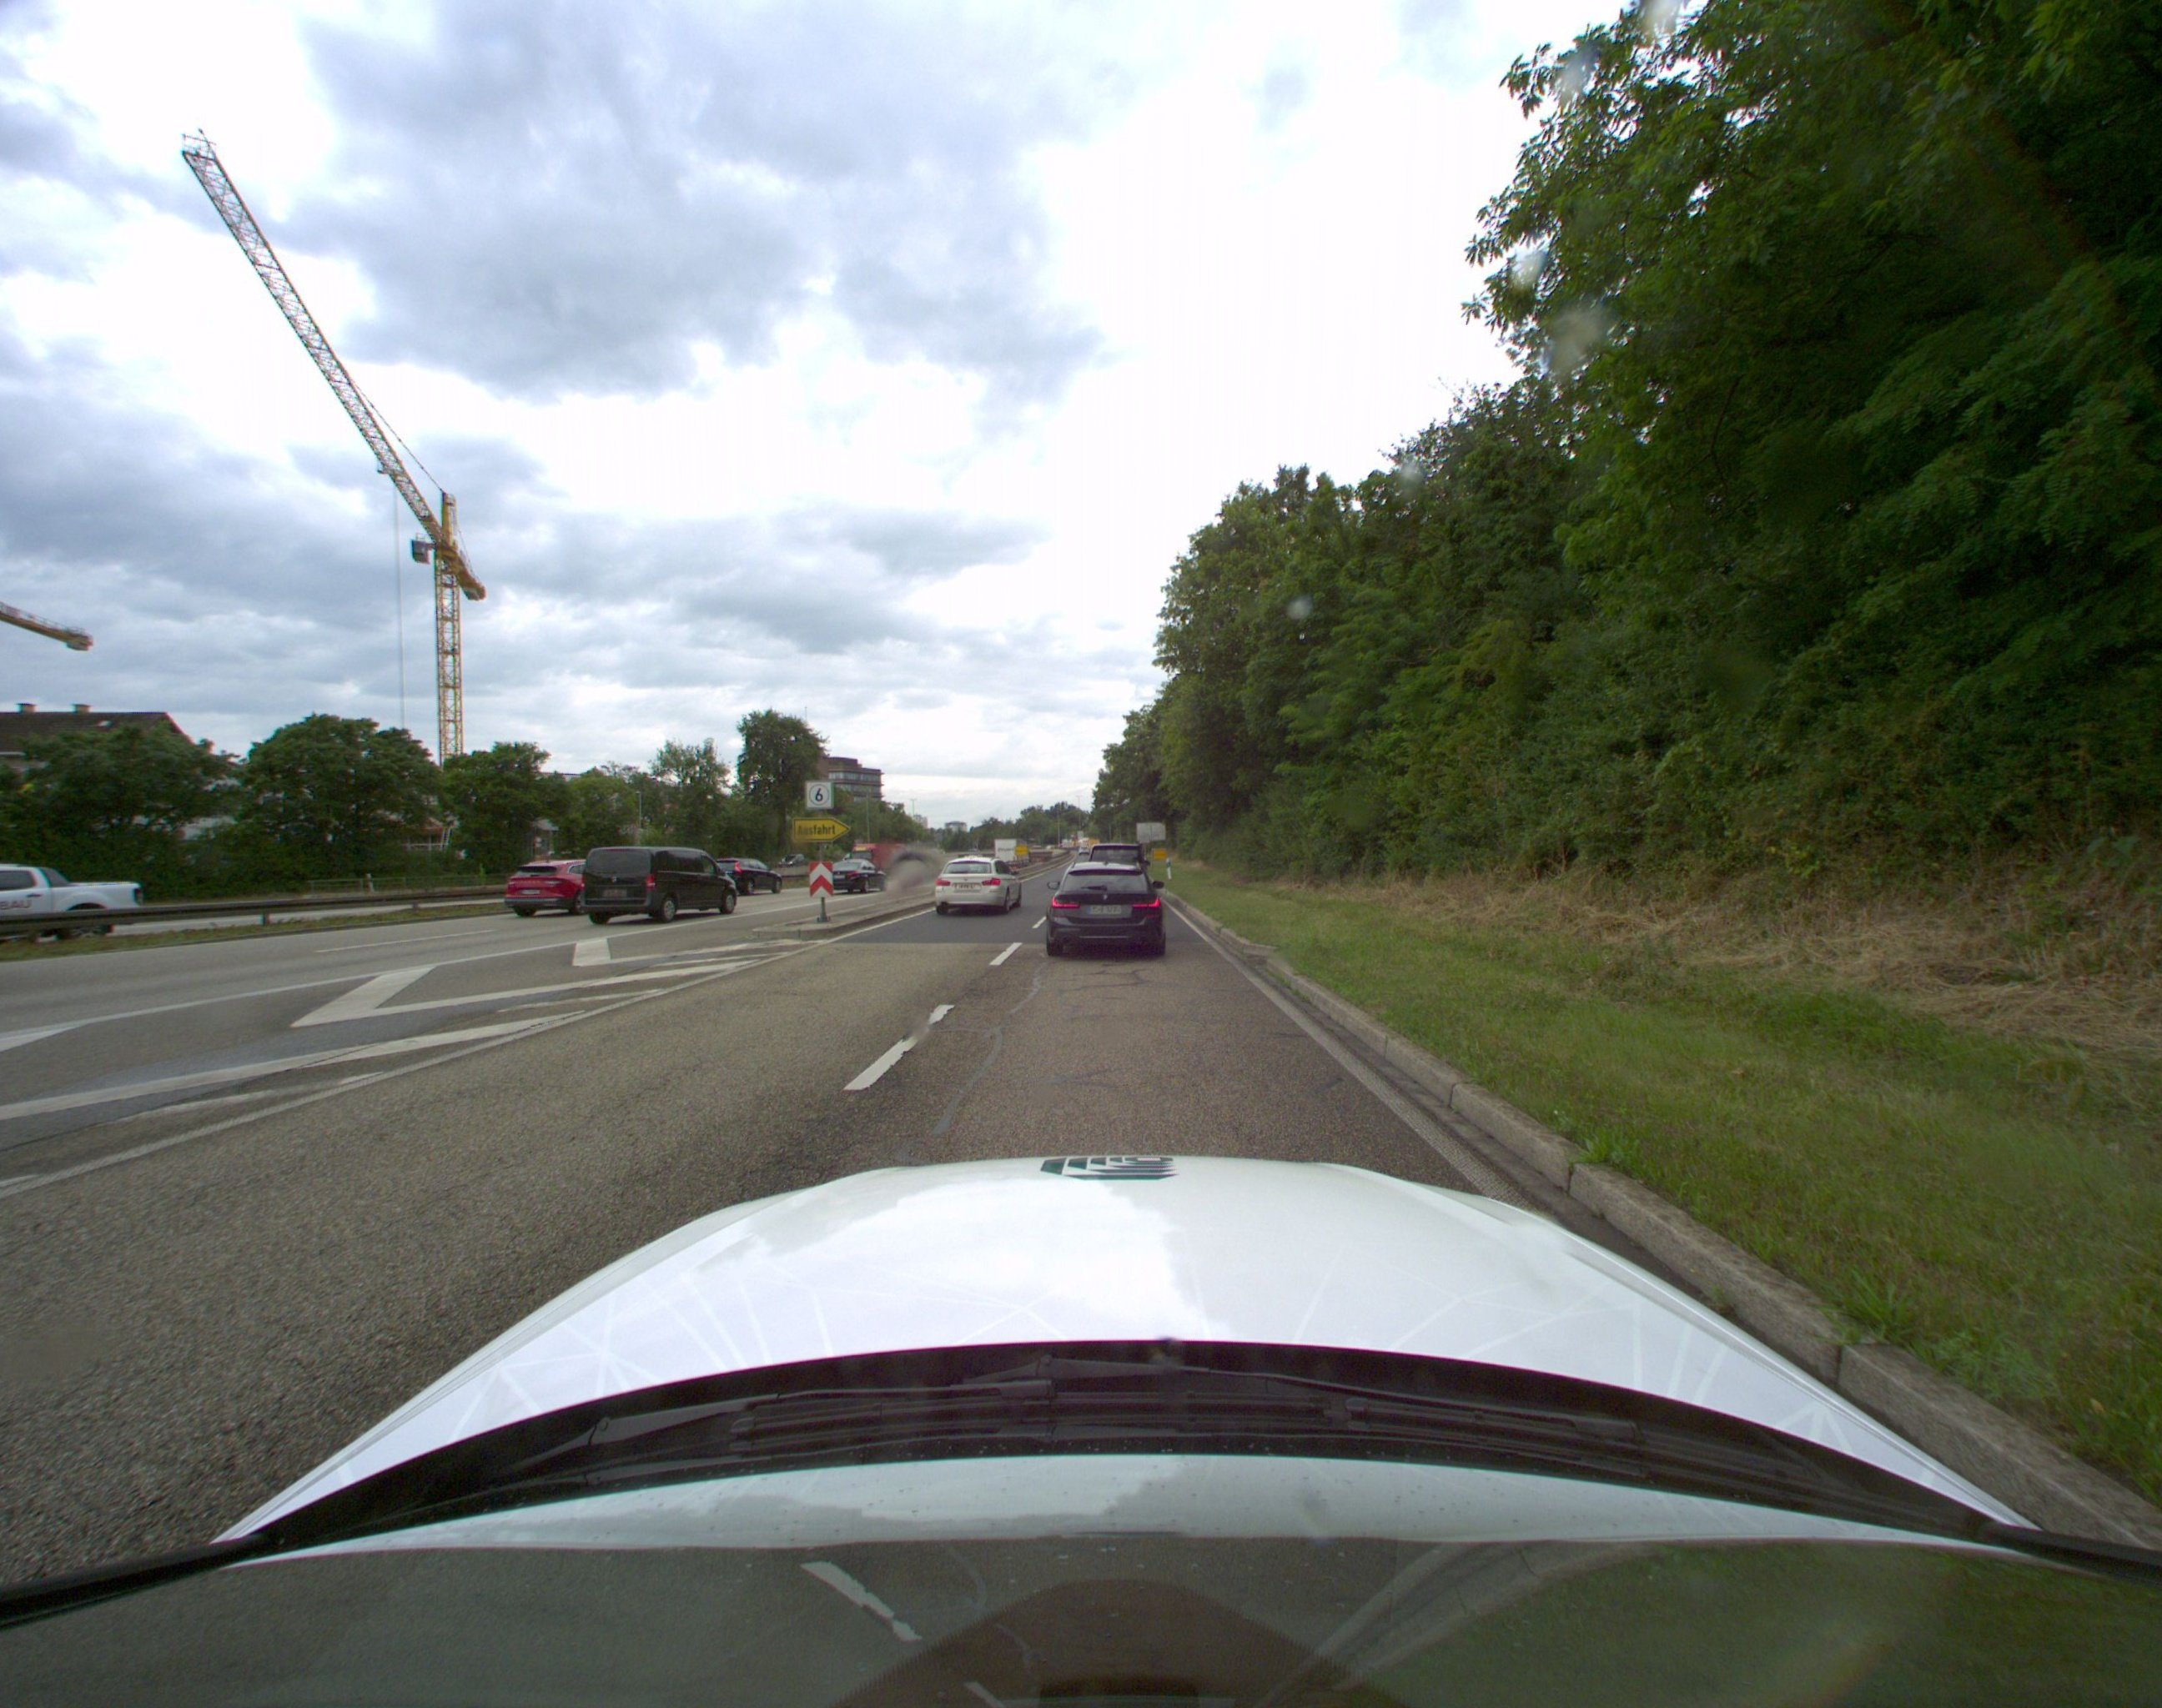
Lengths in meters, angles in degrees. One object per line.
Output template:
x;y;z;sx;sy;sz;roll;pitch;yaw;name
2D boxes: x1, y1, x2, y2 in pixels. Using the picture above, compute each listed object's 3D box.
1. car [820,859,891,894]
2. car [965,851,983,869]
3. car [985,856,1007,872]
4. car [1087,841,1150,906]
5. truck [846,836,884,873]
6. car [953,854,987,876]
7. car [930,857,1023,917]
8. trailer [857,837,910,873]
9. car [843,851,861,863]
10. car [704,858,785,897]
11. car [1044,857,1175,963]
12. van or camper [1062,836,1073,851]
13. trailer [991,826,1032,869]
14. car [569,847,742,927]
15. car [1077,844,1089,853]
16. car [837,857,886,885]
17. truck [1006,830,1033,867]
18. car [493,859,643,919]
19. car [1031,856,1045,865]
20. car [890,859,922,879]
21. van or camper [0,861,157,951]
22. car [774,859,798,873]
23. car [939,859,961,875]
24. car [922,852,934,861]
-10.151;0.975;37.083;1.706;1.457;4.670;-1;0;3;car
-13.065;0.732;99.696;1.437;2.044;3.683;-1;0;3;car
-8.532;0.959;81.878;1.762;1.549;3.493;-1;0;1;car
1.152;0.568;25.498;1.789;1.872;4.002;-1;0;2;car
-24.486;0.077;92.660;2.752;4.064;4.909;-1;0;2;truck
-8.907;0.878;65.787;1.938;1.692;4.510;-1;0;2;car
-2.758;0.818;22.602;1.852;1.464;4.885;0;0;1;car
-24.174;0.151;100.678;2.754;4.064;13.360;-1;0;2;trailer
-32.775;0.419;116.666;1.432;1.586;3.245;-1;0;2;car
-15.229;1.039;37.091;1.745;1.635;4.269;-1;0;2;car
0.425;0.801;13.483;1.840;1.467;4.000;0;0;0;car
-2.708;-2.023;162.822;1.987;2.821;3.999;-1;0;0;van or camper
-8.121;-0.675;97.380;3.121;4.725;14.564;0;0;2;trailer
-10.976;0.779;21.497;1.987;1.851;4.812;-1;0;1;car
0.381;-0.980;145.723;1.922;1.596;3.880;-1;0;3;car
-14.148;1.068;52.761;1.884;1.681;4.307;-1;0;1;car
-7.906;-0.645;104.854;3.072;4.698;4.234;0;0;2;truck
-15.085;0.970;24.231;1.759;1.567;3.948;-1;0;3;car
-10.415;1.552;198.630;3.198;2.028;5.066;-1;0;-5;car
-14.299;1.190;66.604;1.681;1.608;4.008;0;0;1;car
-22.654;1.086;16.703;1.693;1.794;4.907;-1;0;1;van or camper
-33.992;1.380;93.881;1.432;1.574;3.245;-1;0;2;car
-13.865;1.310;86.199;1.681;1.632;3.735;0;0;1;car
-33.832;0.518;180.106;1.649;1.836;3.624;-1;0;2;car
